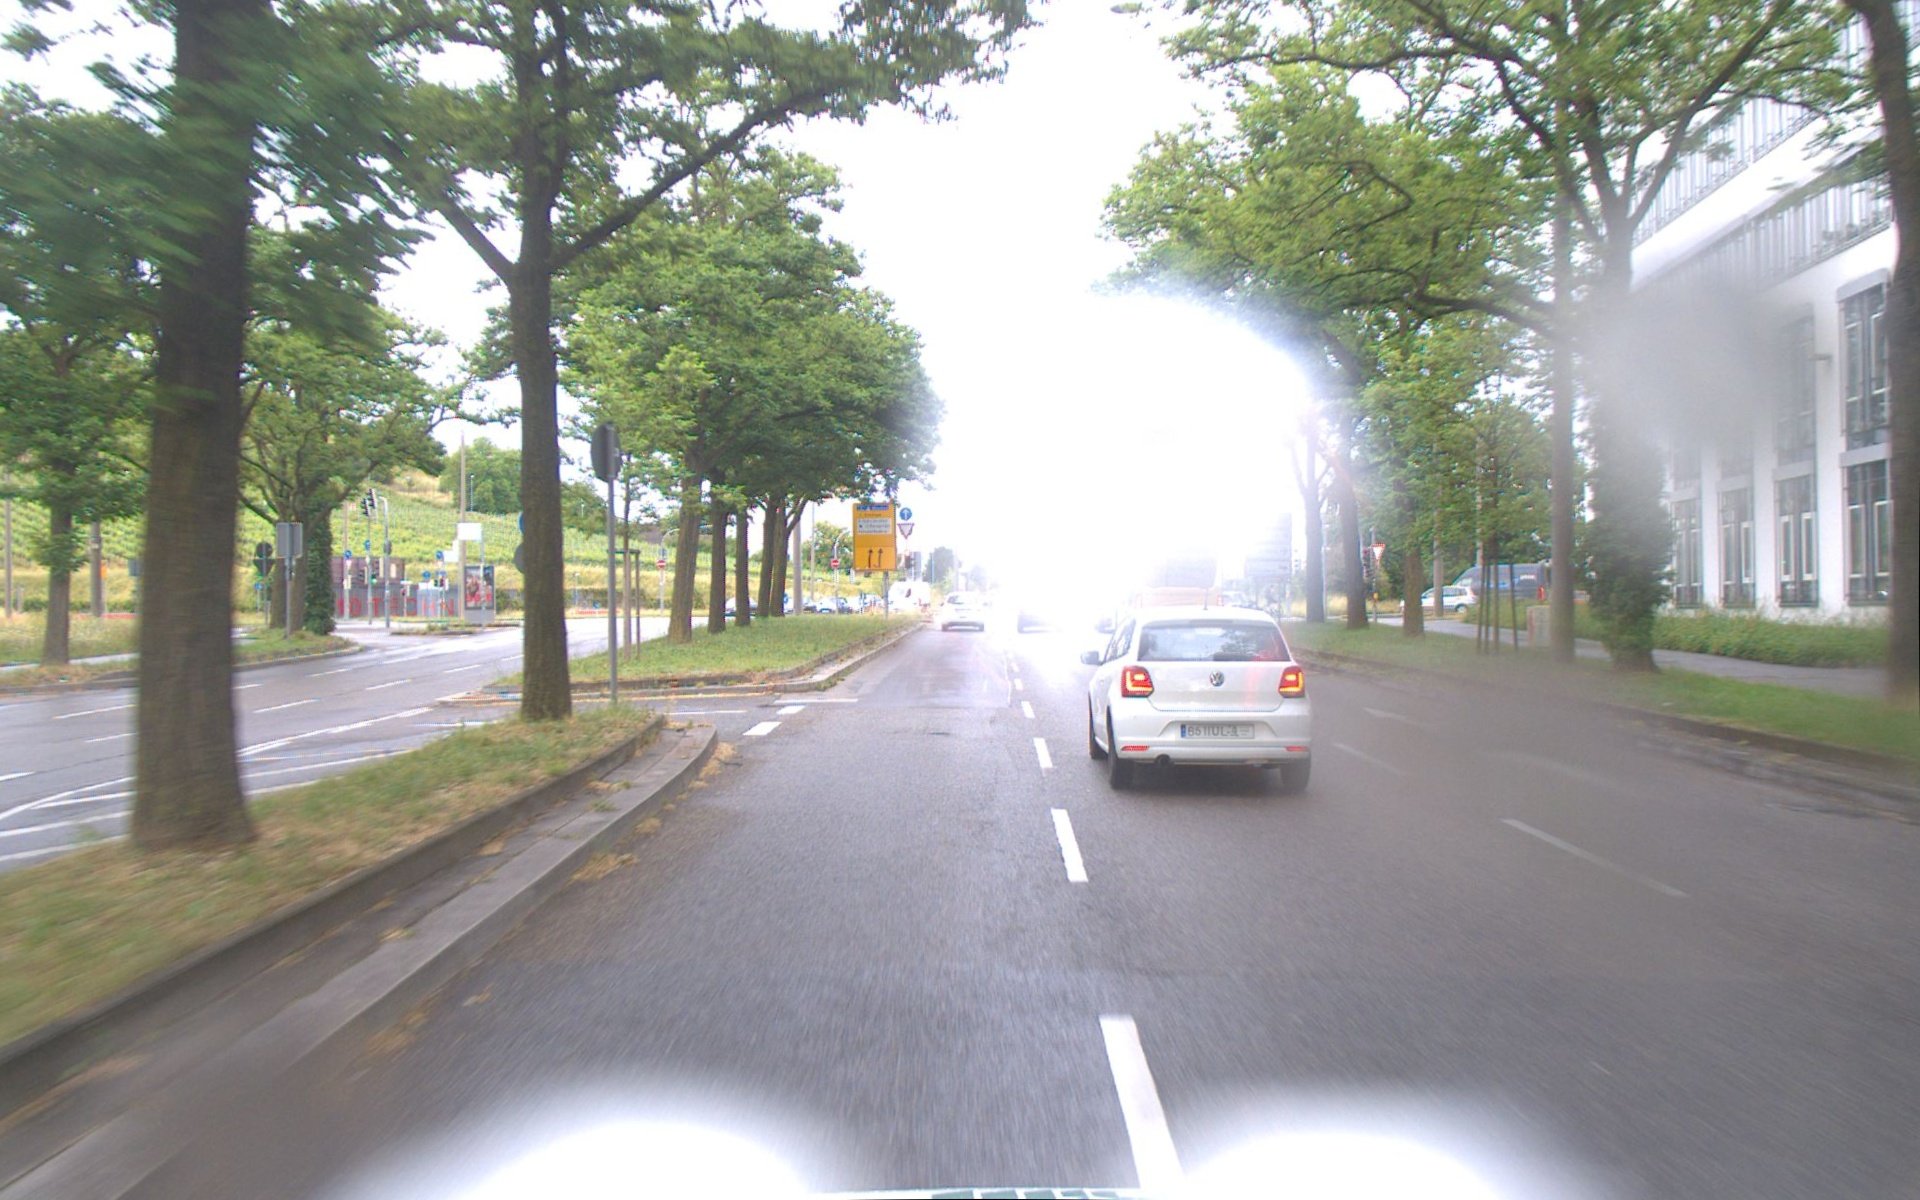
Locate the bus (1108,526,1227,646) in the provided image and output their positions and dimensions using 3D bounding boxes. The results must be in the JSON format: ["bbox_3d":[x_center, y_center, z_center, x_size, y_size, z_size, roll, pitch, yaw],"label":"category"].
[{"bbox_3d":[6.188,-0.417,50.786,2.769,3.324,10.003,0,0,2],"label":"bus"}]

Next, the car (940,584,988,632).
[{"bbox_3d":[0.182,0.315,65.173,1.757,1.772,4.000,-2,0,1],"label":"car"}]

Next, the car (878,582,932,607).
[{"bbox_3d":[-4.726,-0.496,143.204,1.956,2.049,5.701,-1,0,29],"label":"car"}]

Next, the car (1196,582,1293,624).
[{"bbox_3d":[10.837,0.106,62.878,3.797,1.542,1.673,0,-1,-43],"label":"car"}]

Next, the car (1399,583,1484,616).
[{"bbox_3d":[24.422,-0.020,83.908,3.906,1.563,2.000,-1,0,23],"label":"car"}]

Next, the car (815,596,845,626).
[{"bbox_3d":[-9.401,0.810,119.753,1.953,2.049,3.998,0,-1,-1],"label":"car"}]

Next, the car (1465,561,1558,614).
[{"bbox_3d":[28.328,-0.650,84.996,4.164,2.608,1.996,-1,0,30],"label":"car"}]

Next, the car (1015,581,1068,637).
[{"bbox_3d":[3.092,0.364,63.507,1.952,2.049,4.001,-1,-1,2],"label":"car"}]

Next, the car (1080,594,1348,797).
[{"bbox_3d":[2.092,0.726,14.667,1.757,1.528,4.000,1,0,0],"label":"car"}]
